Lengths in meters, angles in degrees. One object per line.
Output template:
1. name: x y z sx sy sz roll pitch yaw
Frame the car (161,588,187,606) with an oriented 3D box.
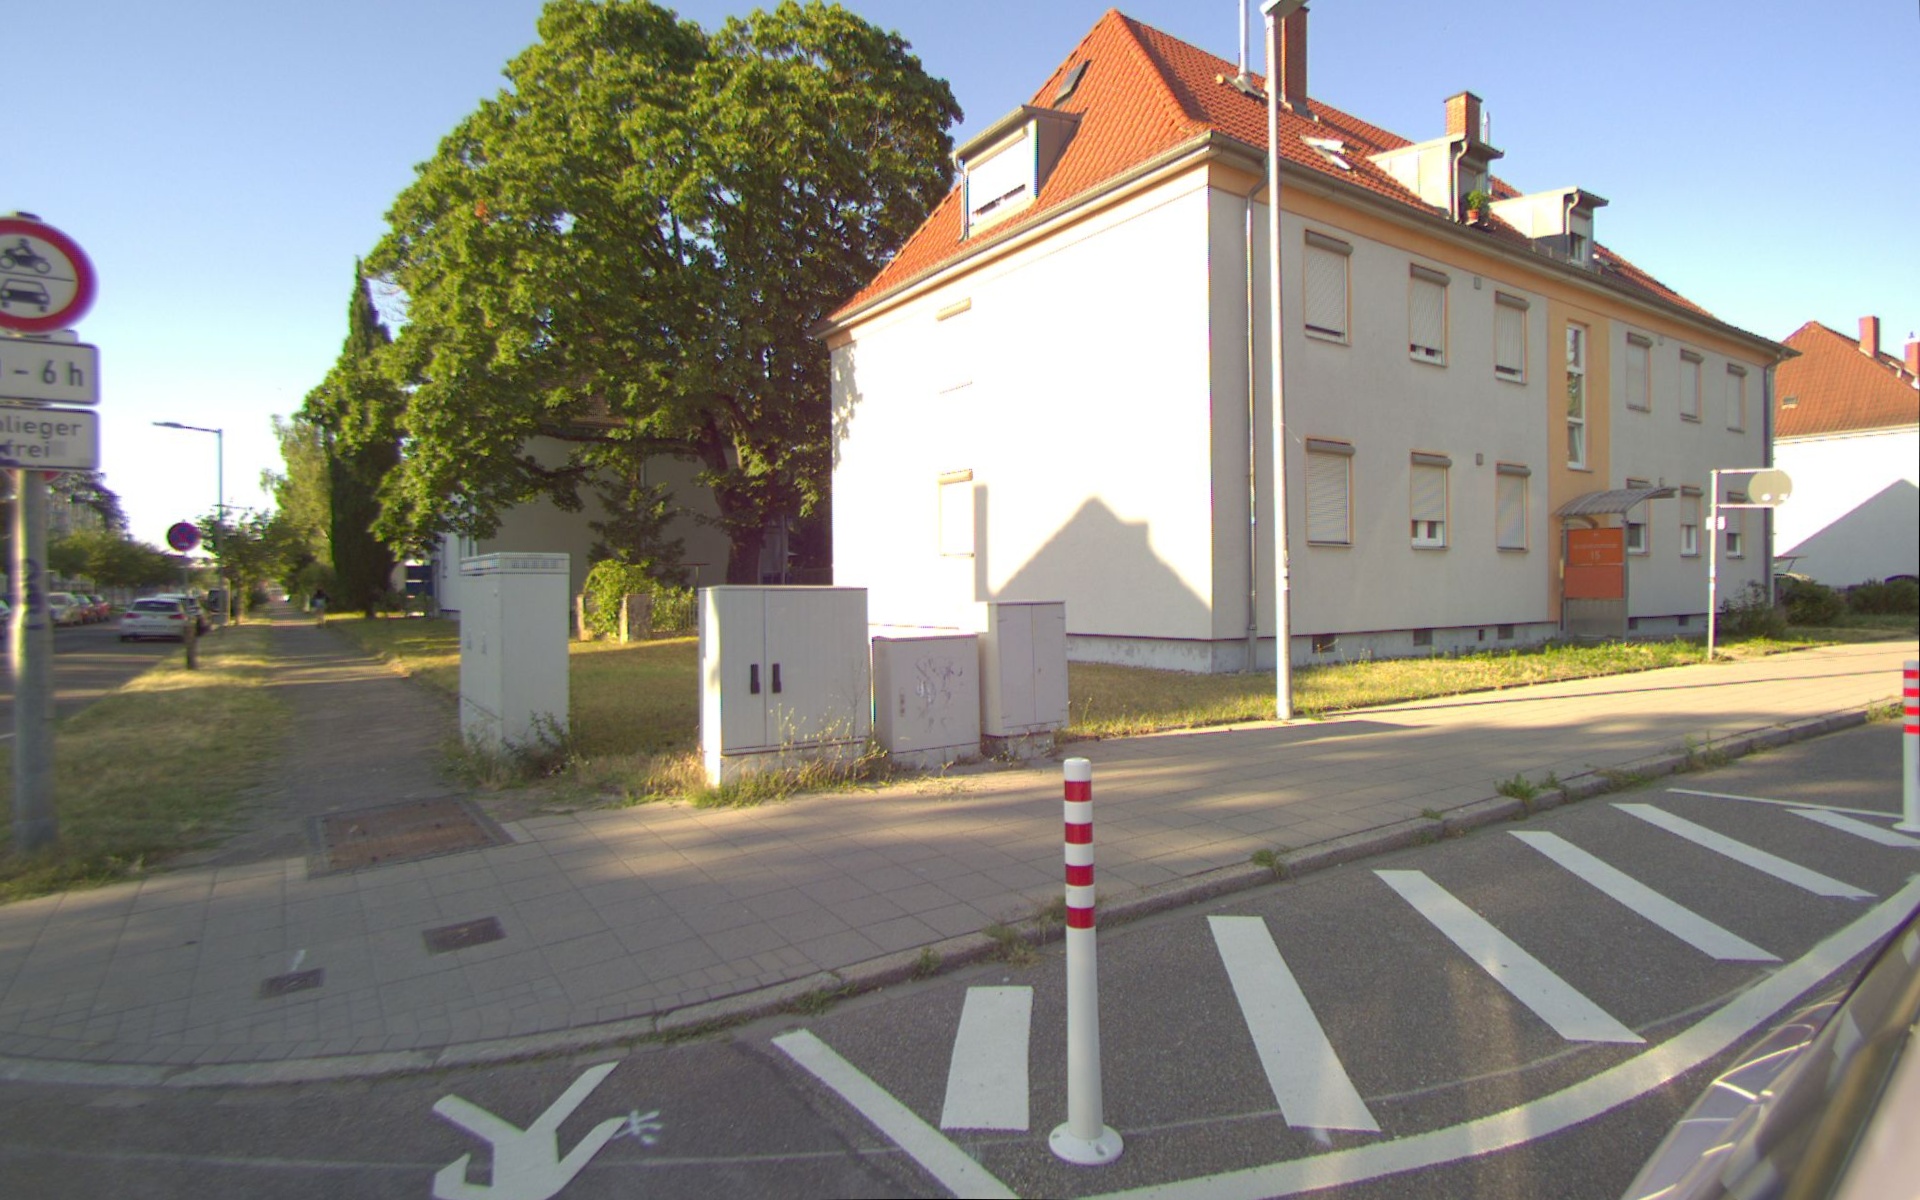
1. car: -77.266 -0.332 99.528 1.936 1.634 4.245 -2 1 -37

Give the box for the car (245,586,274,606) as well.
1. car: -58.907 -0.332 85.065 1.935 1.634 4.247 -2 1 -35

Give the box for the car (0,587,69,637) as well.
1. car: -33.153 0.388 35.966 1.936 1.634 4.244 -2 1 -38

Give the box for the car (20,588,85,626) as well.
1. car: -42.697 0.288 47.690 1.936 1.634 4.244 -2 1 -38

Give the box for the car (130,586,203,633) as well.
1. car: -29.878 0.298 38.208 1.935 1.634 4.247 -2 1 -35

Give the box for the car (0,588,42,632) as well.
1. car: -37.399 0.364 39.521 1.936 1.634 4.244 -2 1 -38

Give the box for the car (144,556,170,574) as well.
1. car: -81.523 -3.557 102.780 1.936 1.797 4.244 -2 1 -38

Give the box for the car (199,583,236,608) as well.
1. car: -52.087 -0.345 70.940 1.936 1.634 4.244 -2 1 -38

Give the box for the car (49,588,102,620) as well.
1. car: -48.281 0.199 55.322 1.936 1.634 4.244 -2 1 -38

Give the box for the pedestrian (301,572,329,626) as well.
1. pedestrian: -24.757 -0.054 38.846 0.881 2.039 0.693 -1 1 -33

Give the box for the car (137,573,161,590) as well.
1. car: -89.364 -2.036 111.576 1.936 1.797 4.244 -2 1 -38

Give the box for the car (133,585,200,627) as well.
1. car: -32.793 0.198 41.902 1.935 1.634 4.247 -2 1 -35

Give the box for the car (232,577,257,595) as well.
1. car: -68.819 -1.372 97.351 1.935 1.634 4.247 -2 1 -35

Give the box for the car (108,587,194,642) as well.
1. car: -26.658 0.418 33.479 1.935 1.634 4.247 -2 1 -35
